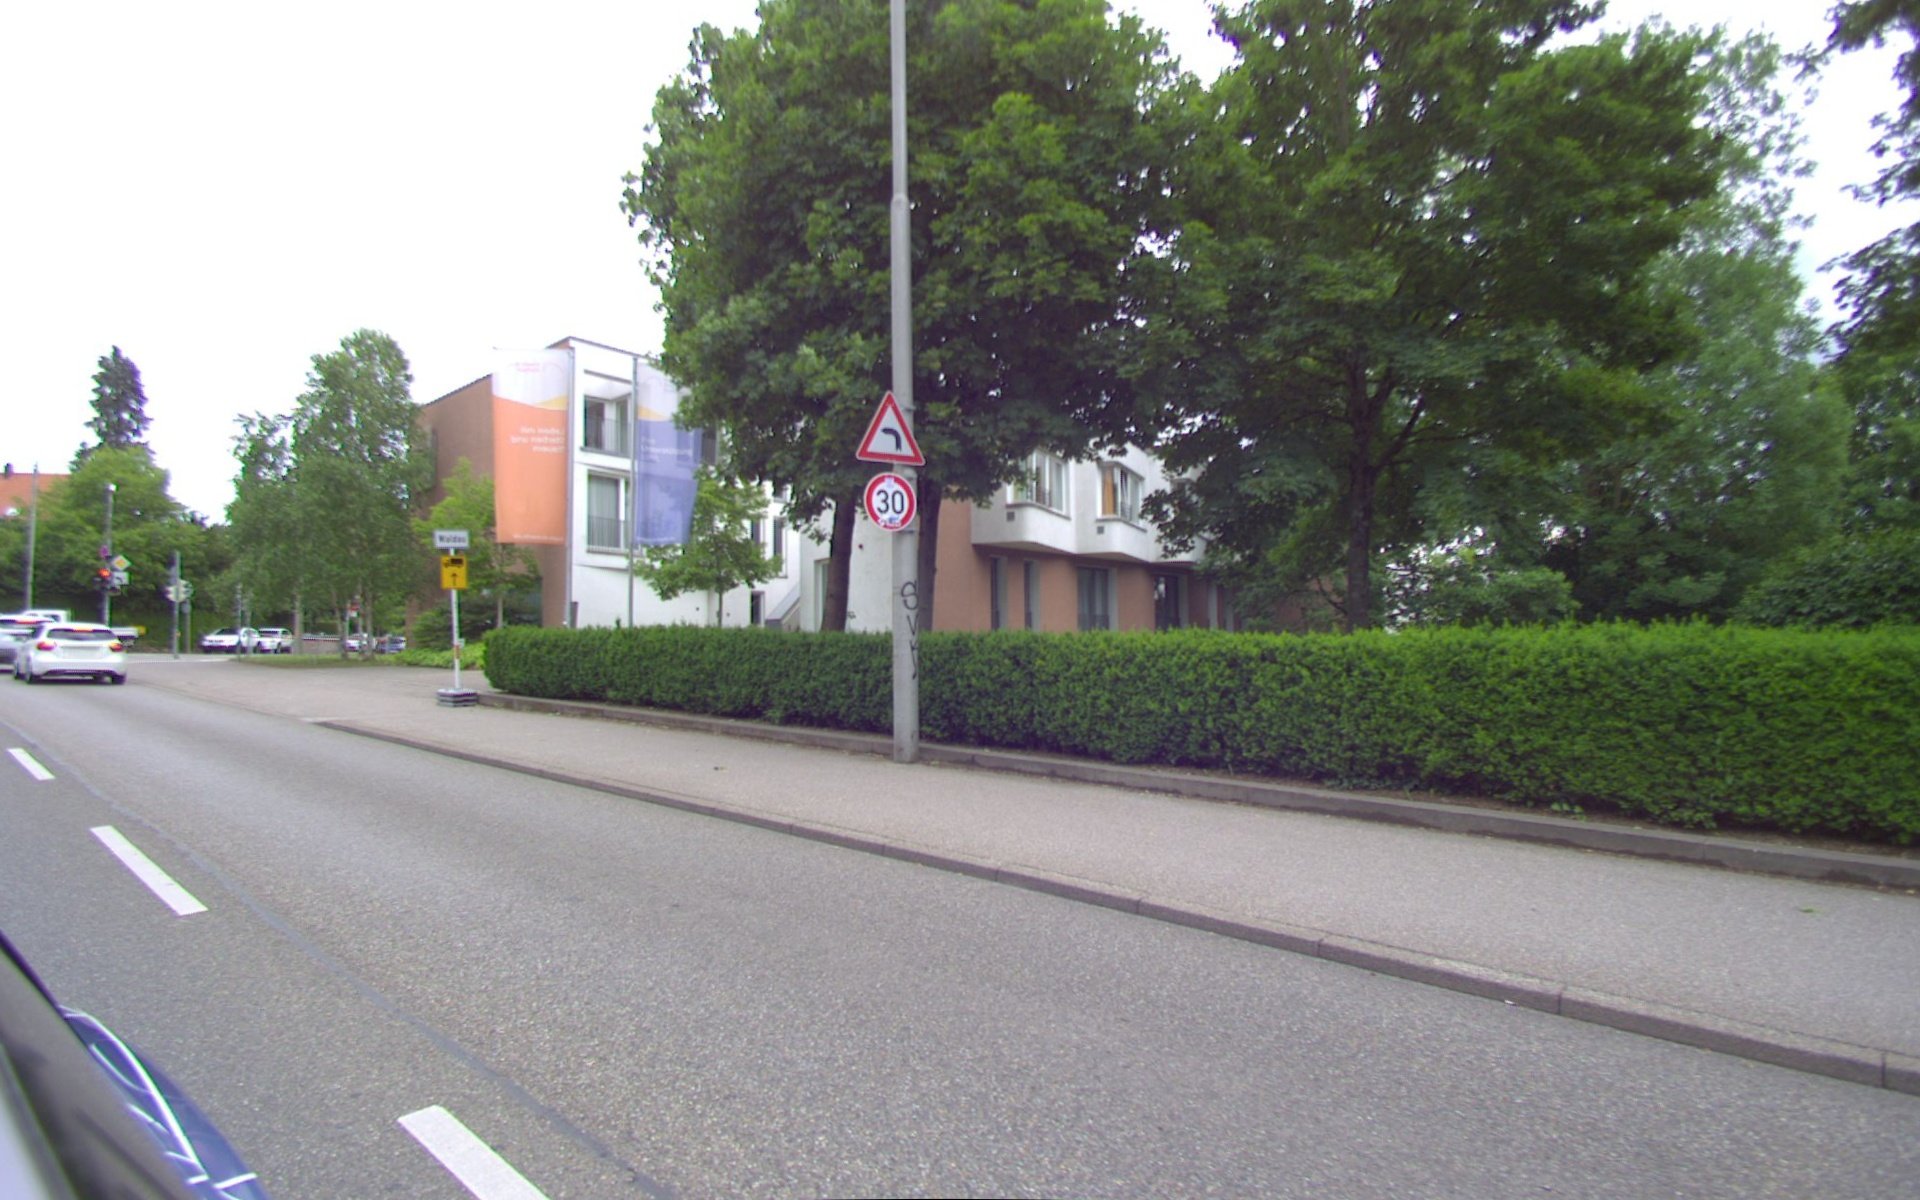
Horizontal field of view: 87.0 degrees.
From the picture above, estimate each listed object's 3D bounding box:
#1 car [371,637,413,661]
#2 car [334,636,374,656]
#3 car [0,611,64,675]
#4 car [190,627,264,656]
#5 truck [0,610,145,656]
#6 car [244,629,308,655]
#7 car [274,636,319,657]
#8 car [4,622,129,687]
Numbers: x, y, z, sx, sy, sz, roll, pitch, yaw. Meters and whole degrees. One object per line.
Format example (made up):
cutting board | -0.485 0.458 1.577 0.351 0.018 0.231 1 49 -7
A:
car | -36.770 3.172 65.583 1.848 1.460 4.013 2 -3 -23
car | -51.494 3.924 86.129 1.841 1.599 3.740 1 -3 -13
car | -26.823 1.186 28.546 4.301 1.650 1.750 -1 -5 42
car | -43.936 2.524 60.742 1.968 1.625 4.008 2 -3 -10
truck | -47.282 1.755 53.280 6.608 2.205 2.535 4 -3 -37
car | -44.758 2.769 66.301 1.968 1.625 4.008 2 -3 -10
car | -47.020 3.291 71.804 1.840 1.464 3.742 1 -2 -19
car | -21.582 1.280 24.403 4.064 1.432 1.747 -1 -4 42
